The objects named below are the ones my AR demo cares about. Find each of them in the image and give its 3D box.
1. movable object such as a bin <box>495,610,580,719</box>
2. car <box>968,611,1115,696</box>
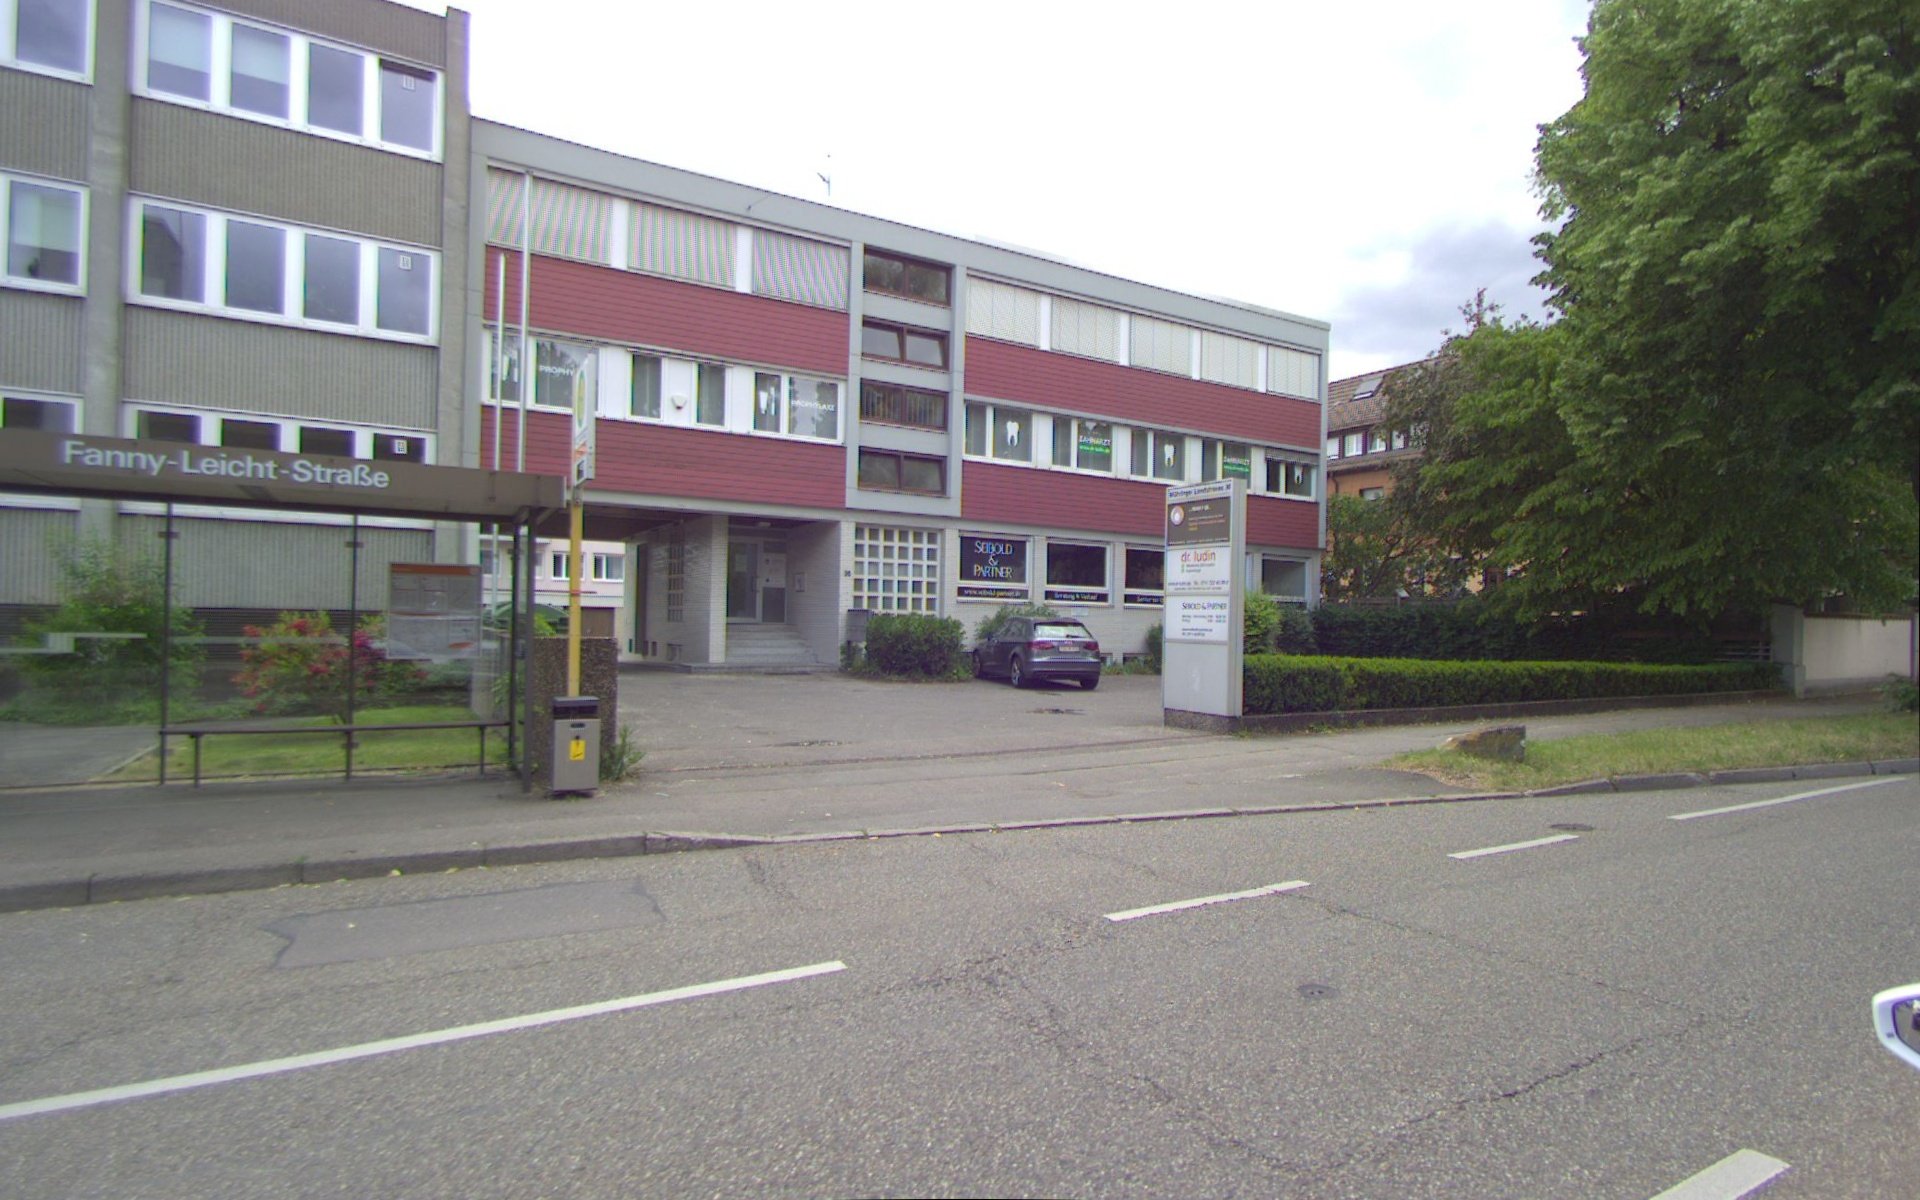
[{"bbox_3d":[-6.264,0.928,14.850,0.981,1.484,1.292,2,0,-30],"label":"movable object such as a bin"},{"bbox_3d":[1.599,1.063,21.241,1.782,1.499,4.138,2,0,-15],"label":"car"}]
